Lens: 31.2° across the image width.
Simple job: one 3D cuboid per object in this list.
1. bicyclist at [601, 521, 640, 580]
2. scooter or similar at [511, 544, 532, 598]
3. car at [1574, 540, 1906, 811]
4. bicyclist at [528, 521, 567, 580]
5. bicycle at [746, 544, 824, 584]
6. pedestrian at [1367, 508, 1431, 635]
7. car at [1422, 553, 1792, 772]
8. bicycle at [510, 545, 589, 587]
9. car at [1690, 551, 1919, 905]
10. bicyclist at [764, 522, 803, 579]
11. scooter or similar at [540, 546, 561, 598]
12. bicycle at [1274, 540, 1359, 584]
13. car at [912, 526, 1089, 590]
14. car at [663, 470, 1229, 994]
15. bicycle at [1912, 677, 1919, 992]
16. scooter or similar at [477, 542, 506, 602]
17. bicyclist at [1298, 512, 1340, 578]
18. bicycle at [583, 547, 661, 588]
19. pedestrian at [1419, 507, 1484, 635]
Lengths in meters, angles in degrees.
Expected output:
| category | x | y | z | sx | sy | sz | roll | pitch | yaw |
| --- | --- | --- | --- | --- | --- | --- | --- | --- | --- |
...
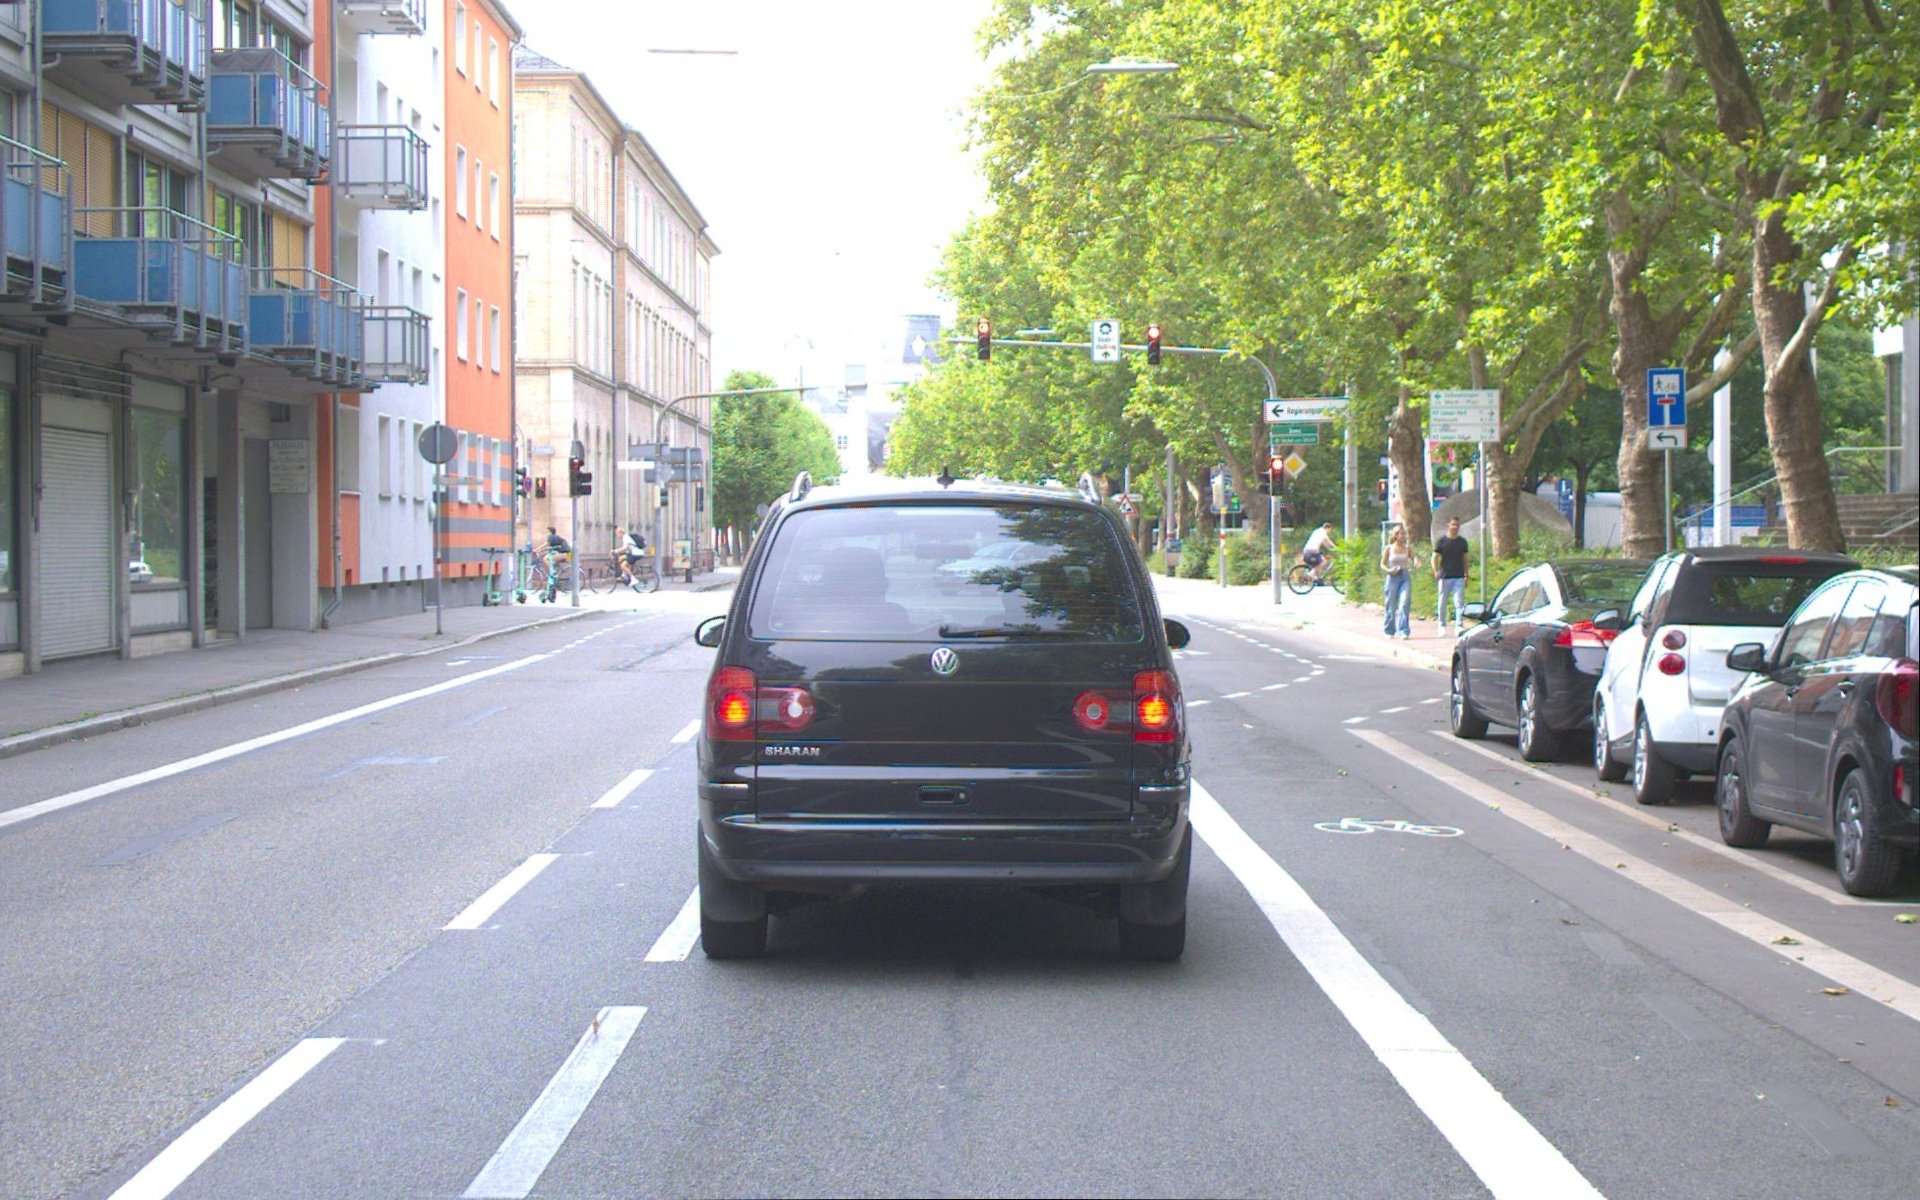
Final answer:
| category | x | y | z | sx | sy | sz | roll | pitch | yaw |
| --- | --- | --- | --- | --- | --- | --- | --- | --- | --- |
| bicyclist | -8.646 | -1.262 | 87.577 | 0.914 | 1.461 | 0.570 | 1 | 1 | -10 |
| scooter or similar | -9.557 | -0.628 | 75.013 | 0.378 | 1.143 | 1.142 | 0 | 0 | -4 |
| car | 4.790 | 0.417 | 21.394 | 1.536 | 1.538 | 2.599 | 1 | 1 | 3 |
| bicyclist | -10.353 | -1.235 | 86.212 | 0.914 | 1.461 | 0.570 | 1 | 1 | -10 |
| bicycle | -4.545 | -0.938 | 89.306 | 1.924 | 1.025 | 0.583 | 1 | 1 | -13 |
| pedestrian | 6.282 | -0.411 | 49.270 | 0.710 | 1.777 | 1.034 | -2 | 1 | -1 |
| car | 4.688 | 0.394 | 25.541 | 1.697 | 1.420 | 4.423 | 1 | 1 | -3 |
| bicycle | -10.287 | -0.846 | 86.233 | 1.924 | 1.025 | 0.583 | 1 | 1 | -10 |
| car | 4.686 | 0.540 | 16.565 | 1.528 | 1.496 | 3.660 | 1 | 1 | 0 |
| bicyclist | -4.574 | -1.294 | 89.295 | 0.914 | 1.461 | 0.570 | 1 | 1 | -12 |
| scooter or similar | -8.988 | -0.612 | 75.465 | 0.378 | 1.140 | 1.142 | 0 | 0 | -4 |
| bicycle | 8.572 | -0.914 | 82.707 | 1.924 | 1.025 | 0.583 | 1 | 1 | -8 |
| car | 0.970 | -1.038 | 84.152 | 4.084 | 1.422 | 1.763 | -2 | 1 | -7 |
| car | -0.083 | 0.387 | 13.711 | 1.874 | 1.739 | 4.574 | 0 | 1 | -1 |
| bicycle | 4.261 | 0.839 | 11.969 | 1.734 | 1.101 | 0.552 | 1 | 1 | -11 |
| scooter or similar | -9.372 | -0.559 | 68.795 | 0.378 | 1.179 | 1.390 | 0 | 0 | 0 |
| bicyclist | 8.633 | -1.316 | 82.720 | 0.855 | 1.562 | 0.577 | 1 | 1 | -8 |
| bicycle | -8.602 | -0.831 | 87.592 | 1.924 | 1.025 | 0.583 | 1 | 1 | -10 |
| pedestrian | 7.046 | -0.422 | 49.310 | 0.715 | 1.794 | 1.034 | -2 | 1 | -1 |
